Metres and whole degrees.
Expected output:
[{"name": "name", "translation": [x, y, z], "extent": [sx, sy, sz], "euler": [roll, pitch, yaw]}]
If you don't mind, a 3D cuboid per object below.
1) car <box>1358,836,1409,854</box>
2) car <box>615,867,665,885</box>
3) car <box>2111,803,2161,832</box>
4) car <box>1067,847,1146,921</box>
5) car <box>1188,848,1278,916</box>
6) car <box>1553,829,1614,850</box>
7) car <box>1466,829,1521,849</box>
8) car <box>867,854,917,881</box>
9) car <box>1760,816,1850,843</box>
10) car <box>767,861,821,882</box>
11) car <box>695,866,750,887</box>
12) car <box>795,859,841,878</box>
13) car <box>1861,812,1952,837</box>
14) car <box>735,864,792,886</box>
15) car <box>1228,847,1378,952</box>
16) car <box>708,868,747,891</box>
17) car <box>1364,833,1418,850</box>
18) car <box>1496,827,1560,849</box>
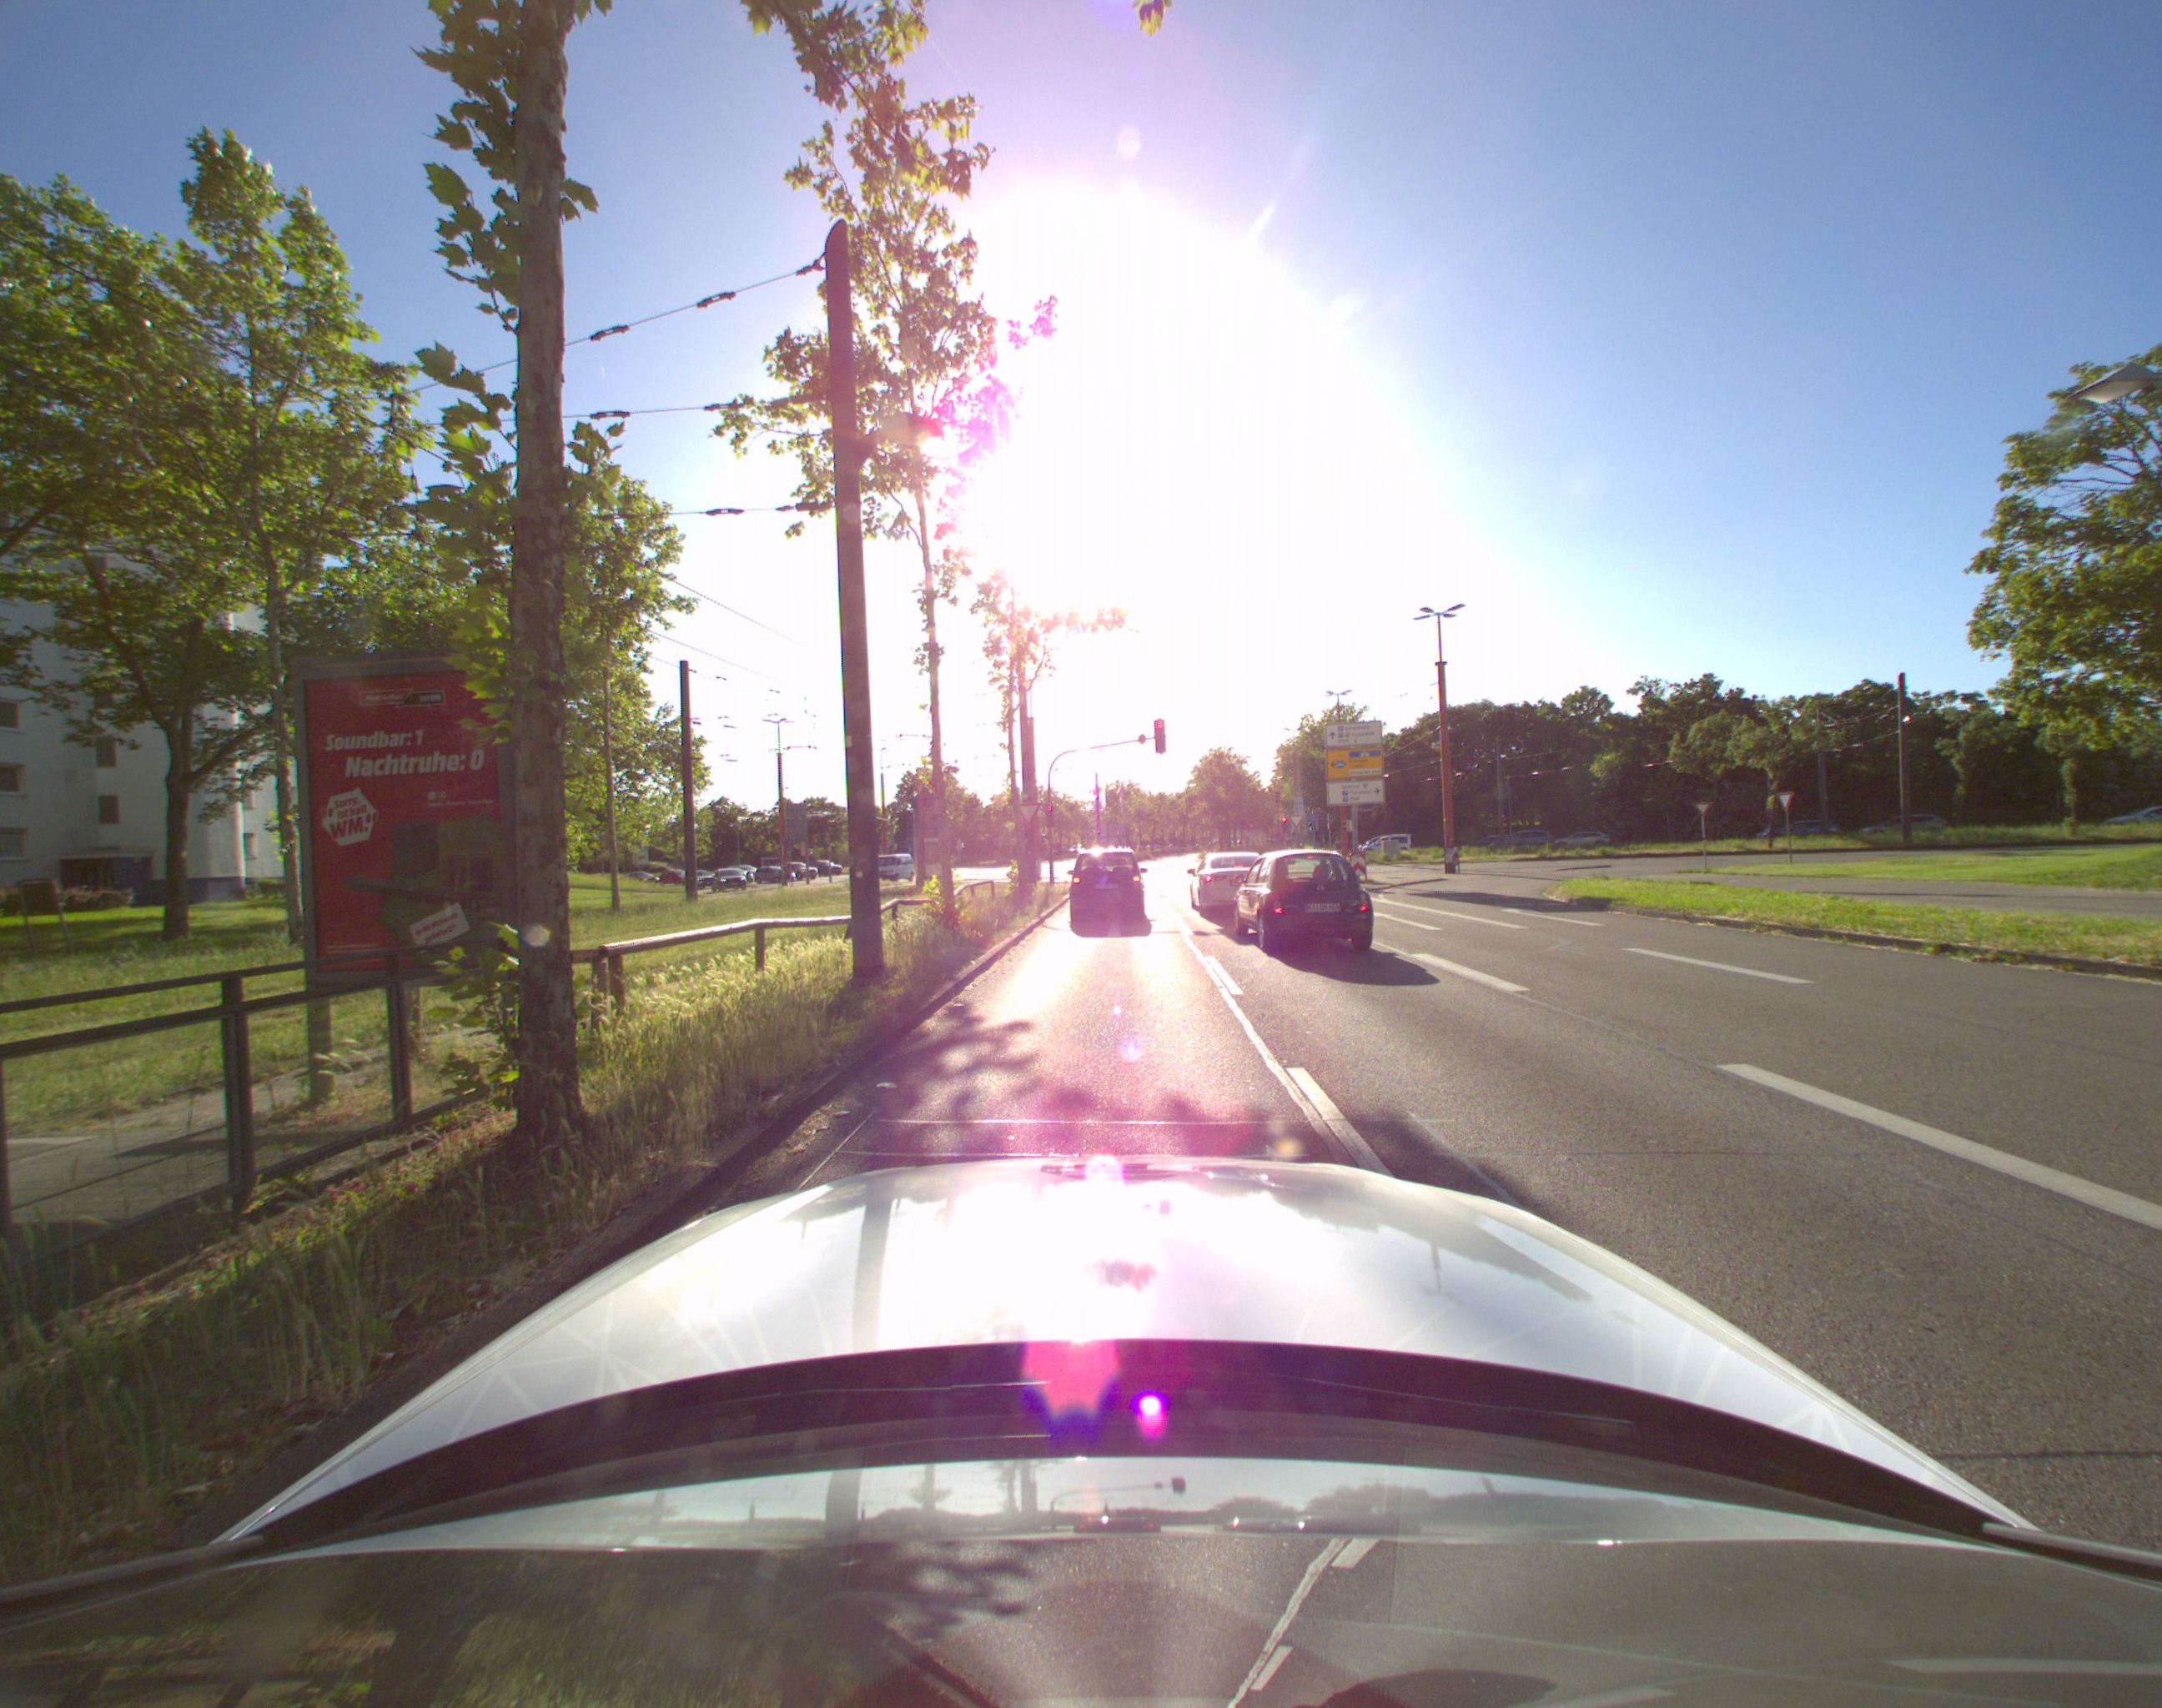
[{"name": "car", "translation": [26.491, -0.763, 71.416], "extent": [3.949, 1.476, 1.800], "euler": [-1, 0, 28]}, {"name": "car", "translation": [-44.743, 2.236, 82.567], "extent": [4.447, 1.610, 1.911], "euler": [-1, 3, 21]}, {"name": "car", "translation": [63.429, -2.172, 47.339], "extent": [3.949, 1.581, 1.884], "euler": [-1, 0, 30]}, {"name": "car", "translation": [0.609, 0.663, 19.654], "extent": [1.704, 1.603, 3.351], "euler": [-1, 0, 2]}, {"name": "car", "translation": [3.638, 0.630, 20.074], "extent": [1.671, 1.475, 4.135], "euler": [-1, 0, 4]}, {"name": "car", "translation": [39.456, -1.119, 64.040], "extent": [3.949, 1.495, 1.872], "euler": [-1, 0, 29]}, {"name": "car", "translation": [34.110, -1.221, 67.337], "extent": [3.949, 1.561, 1.911], "euler": [-1, 0, 29]}, {"name": "car", "translation": [-13.130, 0.900, 56.884], "extent": [1.812, 1.780, 4.578], "euler": [-1, 0, 9]}, {"name": "car", "translation": [49.147, -1.654, 55.407], "extent": [4.220, 1.627, 1.941], "euler": [-1, 0, 29]}, {"name": "car", "translation": [-26.524, 1.647, 75.353], "extent": [4.447, 1.610, 1.911], "euler": [-3, 2, 21]}, {"name": "car", "translation": [-33.180, 2.075, 75.380], "extent": [4.447, 1.610, 1.910], "euler": [-3, 2, 21]}, {"name": "car", "translation": [-26.512, 1.451, 82.161], "extent": [3.952, 1.620, 1.911], "euler": [-3, 2, 21]}, {"name": "car", "translation": [56.221, -1.999, 55.559], "extent": [3.949, 1.528, 1.871], "euler": [-1, 0, 29]}, {"name": "car", "translation": [-28.085, 1.876, 72.106], "extent": [4.447, 1.610, 1.911], "euler": [-3, 2, 21]}, {"name": "car", "translation": [3.522, 0.643, 13.520], "extent": [1.632, 1.494, 3.505], "euler": [-1, 0, 2]}, {"name": "car", "translation": [-25.813, 1.812, 59.338], "extent": [1.907, 1.543, 4.454], "euler": [-1, 0, -33]}, {"name": "car", "translation": [25.918, -1.049, 68.093], "extent": [3.949, 1.338, 1.739], "euler": [-1, 0, 28]}, {"name": "car", "translation": [34.598, -1.251, 63.156], "extent": [4.310, 1.559, 1.883], "euler": [-1, 0, 27]}]
